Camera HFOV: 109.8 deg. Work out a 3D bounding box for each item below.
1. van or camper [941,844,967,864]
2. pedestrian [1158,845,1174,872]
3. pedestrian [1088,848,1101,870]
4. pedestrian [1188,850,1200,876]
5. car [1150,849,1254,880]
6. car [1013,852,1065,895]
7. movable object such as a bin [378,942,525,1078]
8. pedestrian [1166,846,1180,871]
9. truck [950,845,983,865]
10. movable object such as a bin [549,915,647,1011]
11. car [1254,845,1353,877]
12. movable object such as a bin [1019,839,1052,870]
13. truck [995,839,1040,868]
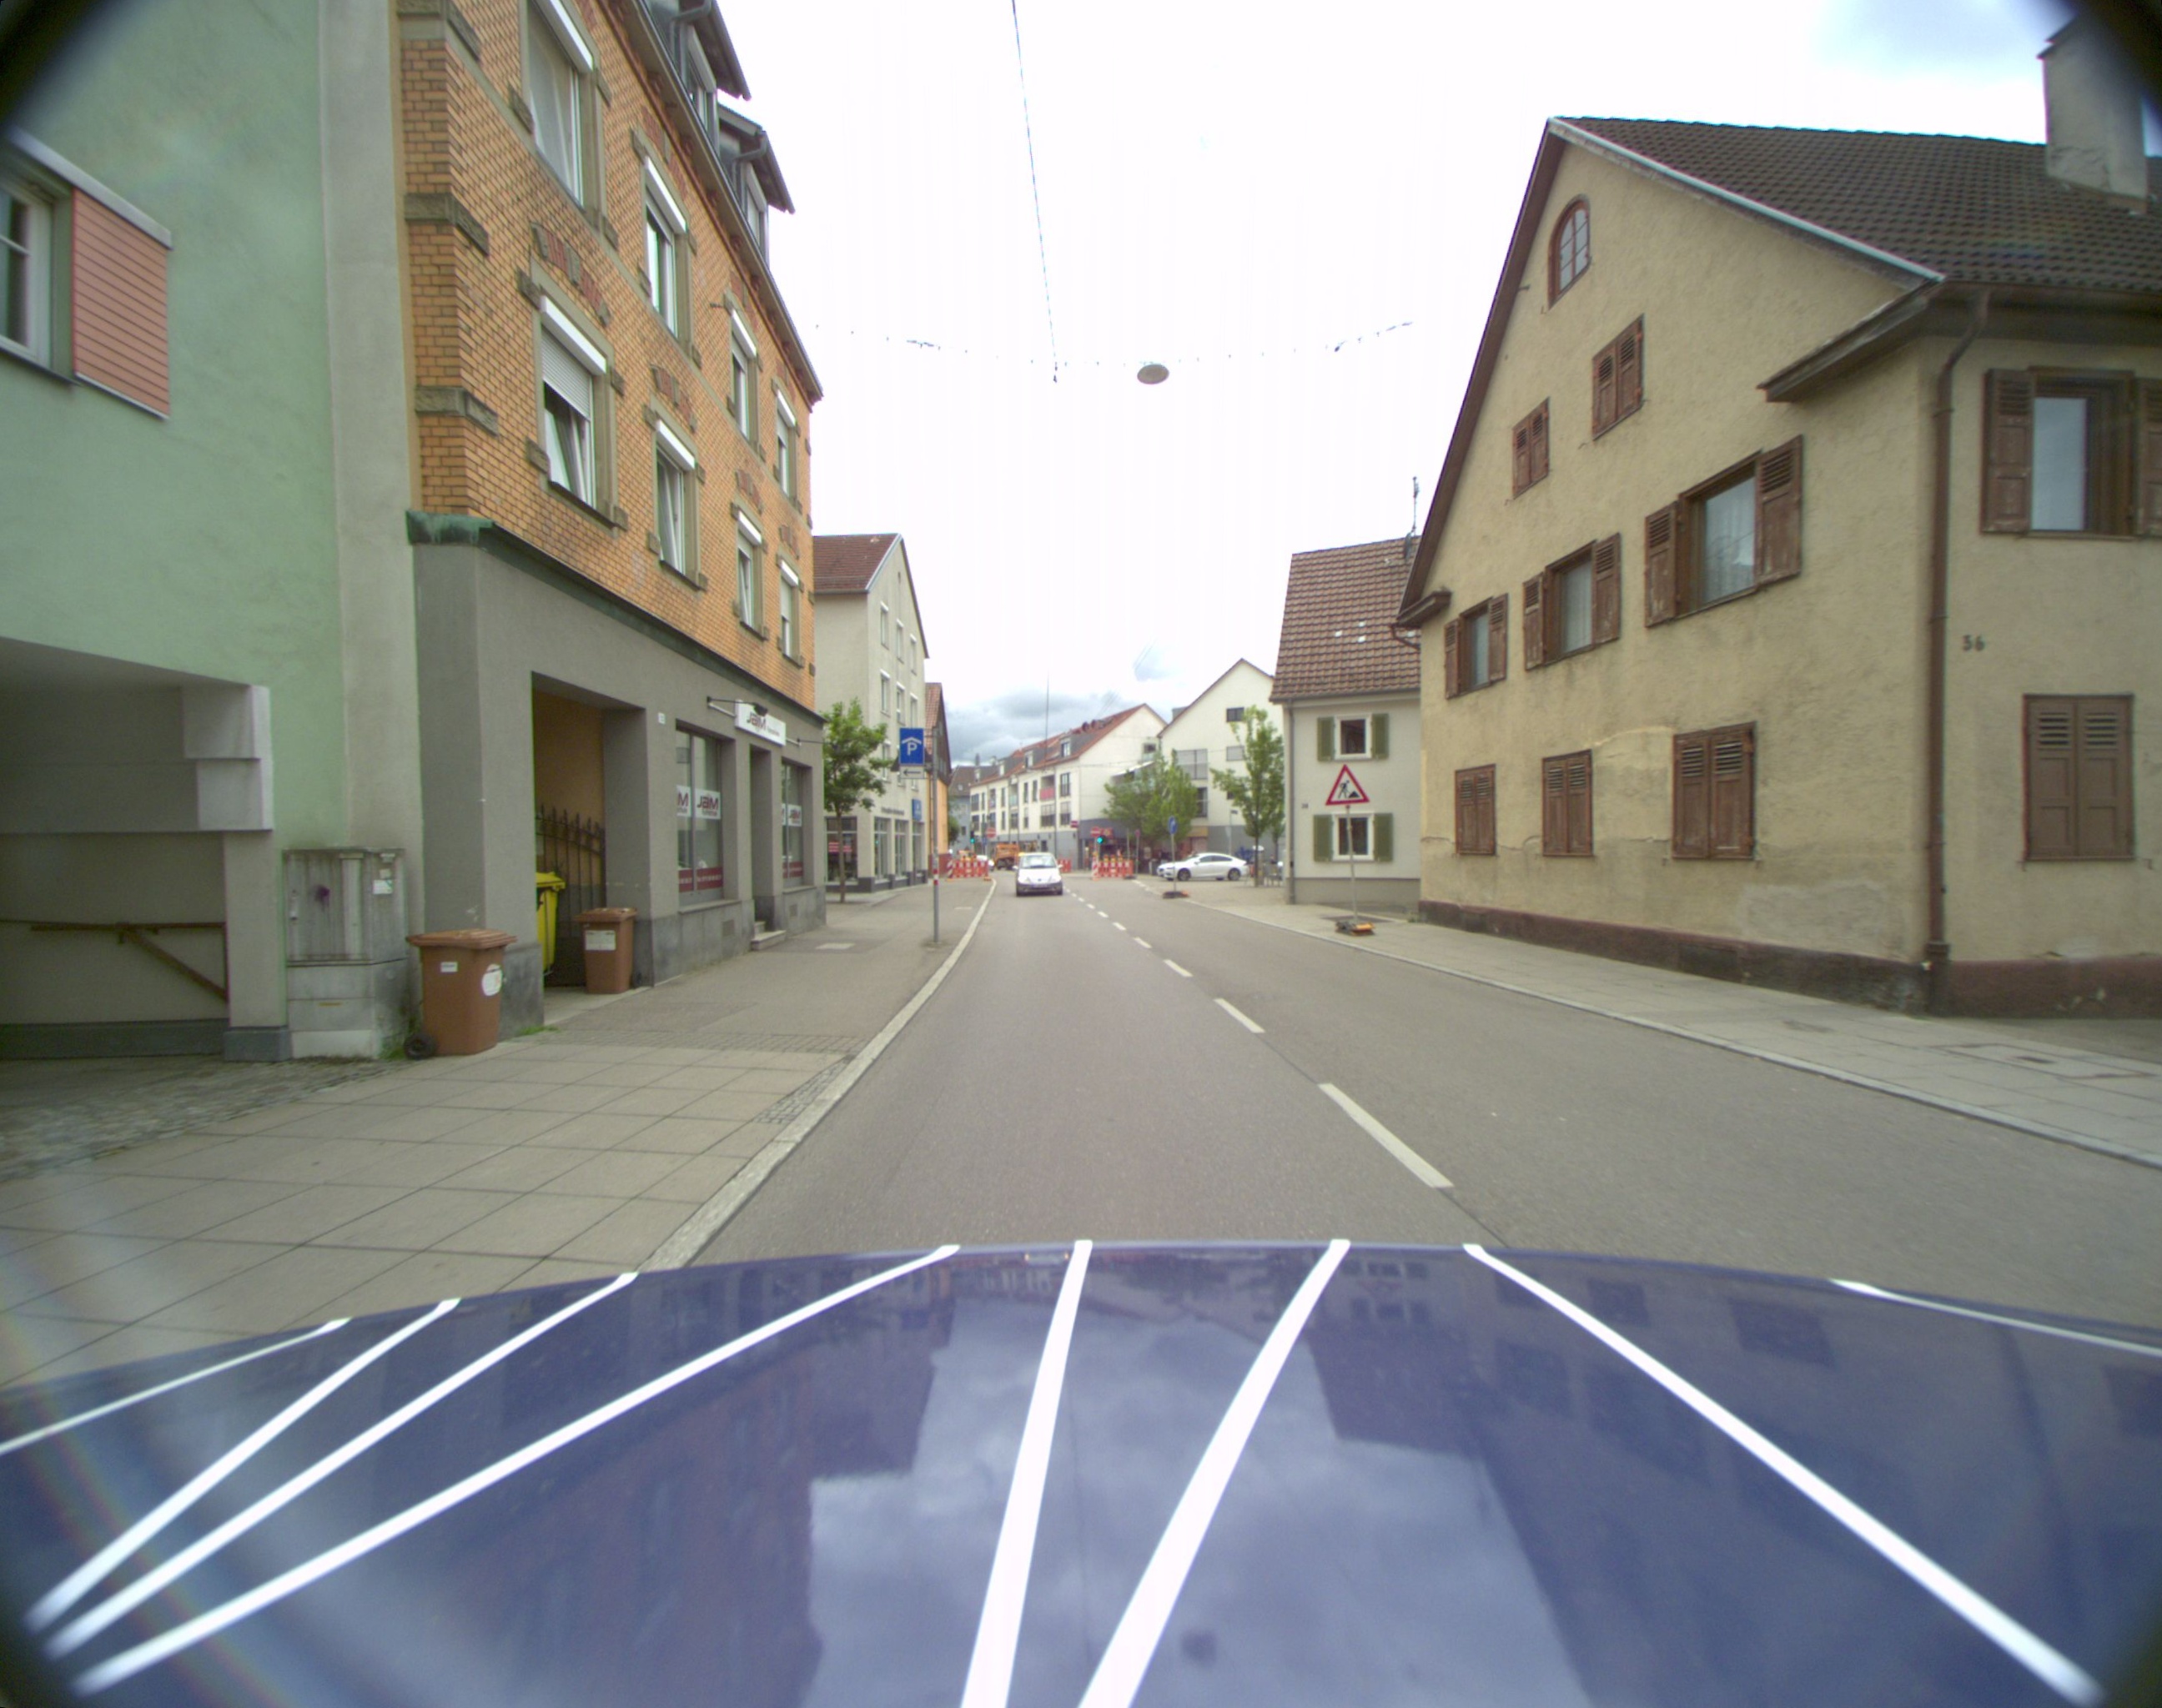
[{"bbox_3d":[-17.118,0.065,102.250,2.329,2.592,6.197,0,-1,-20],"label":"van or camper"},{"bbox_3d":[6.004,0.299,53.648,0.819,1.914,0.782,-1,1,-43],"label":"pedestrian"},{"bbox_3d":[1.091,0.409,61.676,0.835,1.702,0.814,-1,1,-15],"label":"pedestrian"},{"bbox_3d":[6.727,0.529,45.291,0.682,1.583,0.879,0,1,5],"label":"pedestrian"},{"bbox_3d":[6.392,0.538,40.224,4.922,1.468,2.246,-2,0,-17],"label":"car"},{"bbox_3d":[-1.614,0.737,29.410,1.858,1.547,4.351,0,-1,-3],"label":"car"},{"bbox_3d":[-4.778,1.169,5.799,0.621,0.916,0.581,0,1,1],"label":"movable object such as a bin"},{"bbox_3d":[6.563,0.344,54.127,0.695,1.780,0.716,-1,1,-44],"label":"pedestrian"},{"bbox_3d":[-14.197,0.168,93.843,2.424,2.451,6.295,0,-1,-25],"label":"truck"},{"bbox_3d":[-5.245,1.165,8.287,0.581,0.928,0.739,0,1,-1],"label":"movable object such as a bin"},{"bbox_3d":[11.807,0.383,40.607,4.910,1.548,2.023,-1,1,12],"label":"car"},{"bbox_3d":[-4.206,-0.007,69.264,1.847,2.748,4.497,-1,1,-19],"label":"movable object such as a bin"},{"bbox_3d":[-6.431,-0.019,75.849,2.743,2.709,6.836,0,0,-21],"label":"truck"}]
